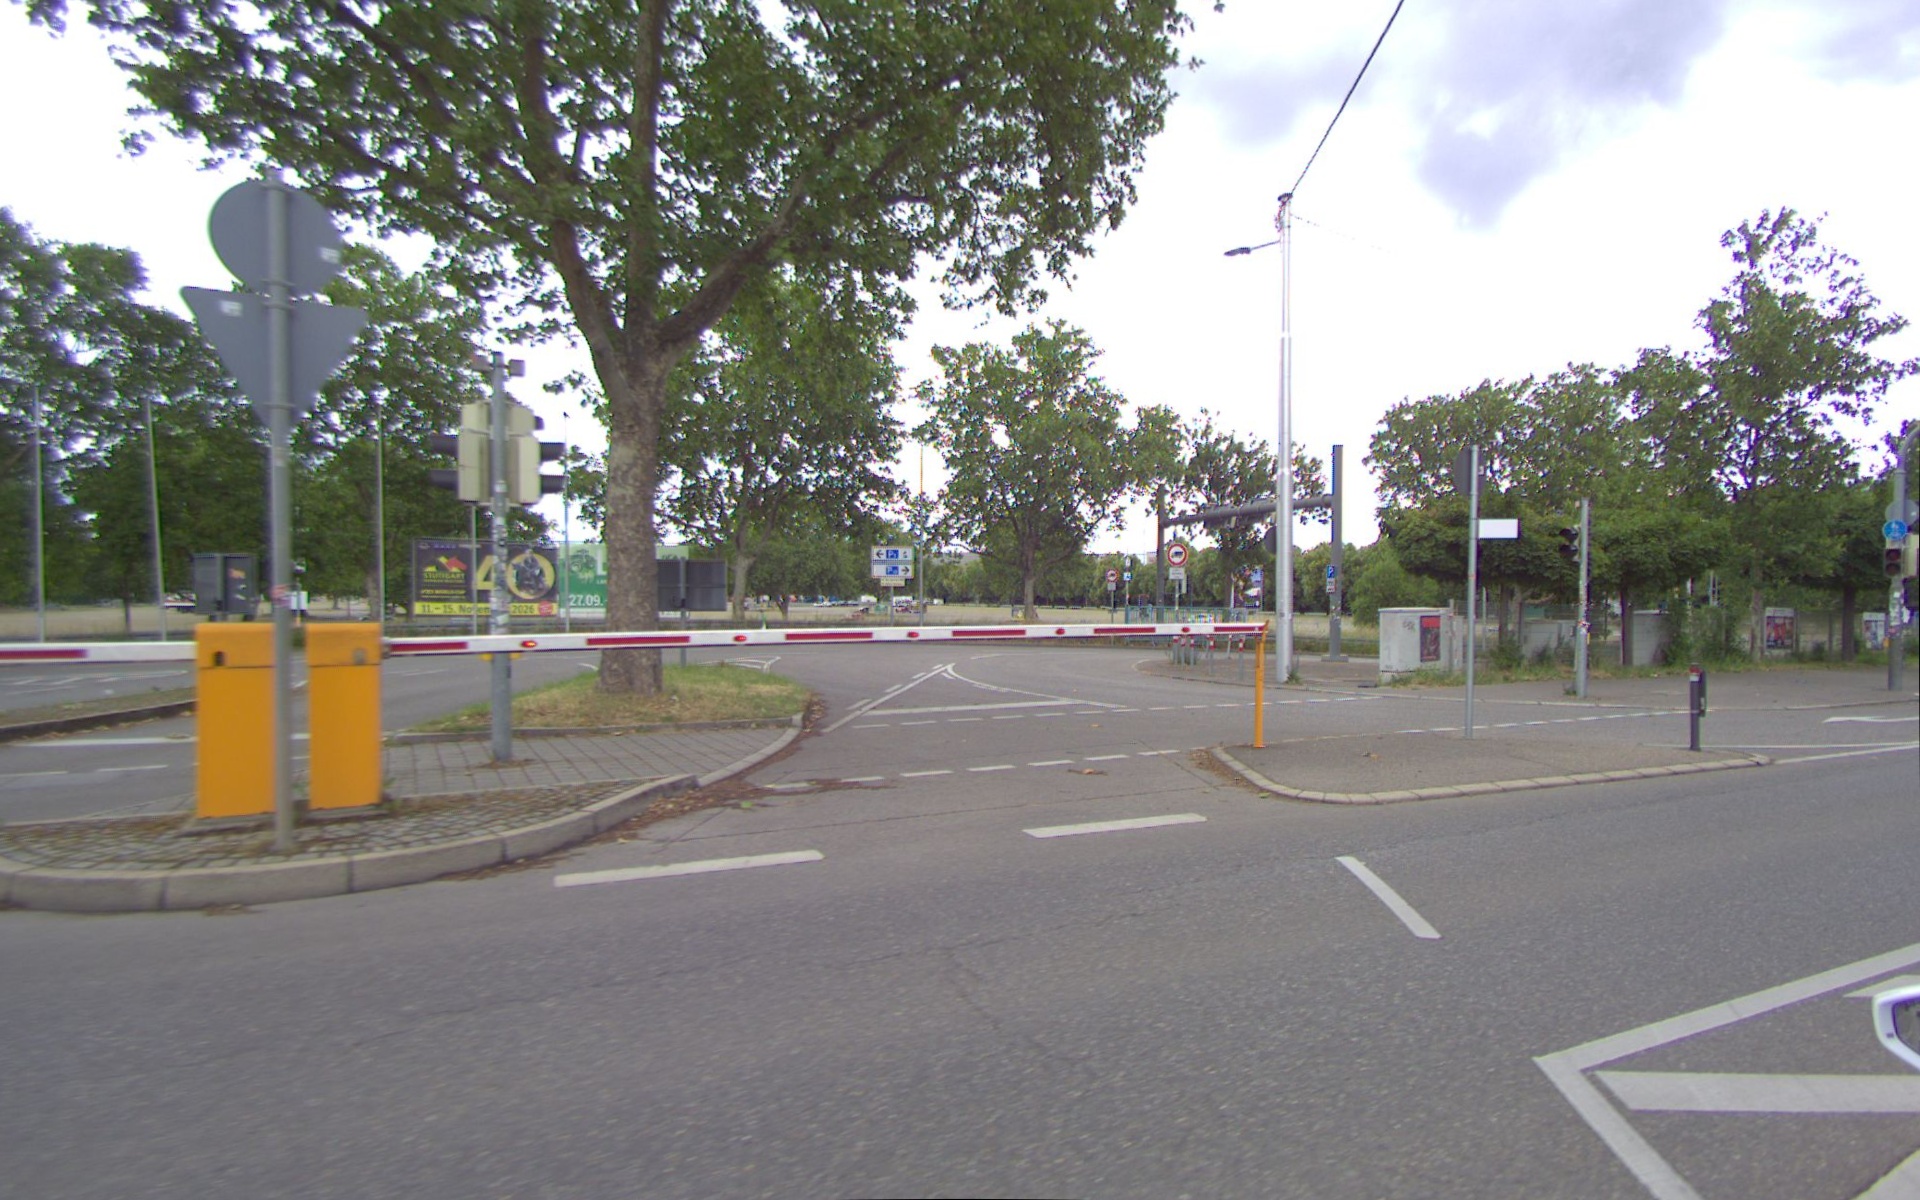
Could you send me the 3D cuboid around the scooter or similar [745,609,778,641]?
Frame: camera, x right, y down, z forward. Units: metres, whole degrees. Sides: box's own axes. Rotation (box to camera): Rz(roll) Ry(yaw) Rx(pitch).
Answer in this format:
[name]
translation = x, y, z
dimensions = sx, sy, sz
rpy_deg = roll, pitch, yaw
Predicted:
[scooter or similar]
translation = -7.867, 0.972, 39.782
dimensions = 1.201, 1.238, 0.414
rpy_deg = 1, 1, -19
